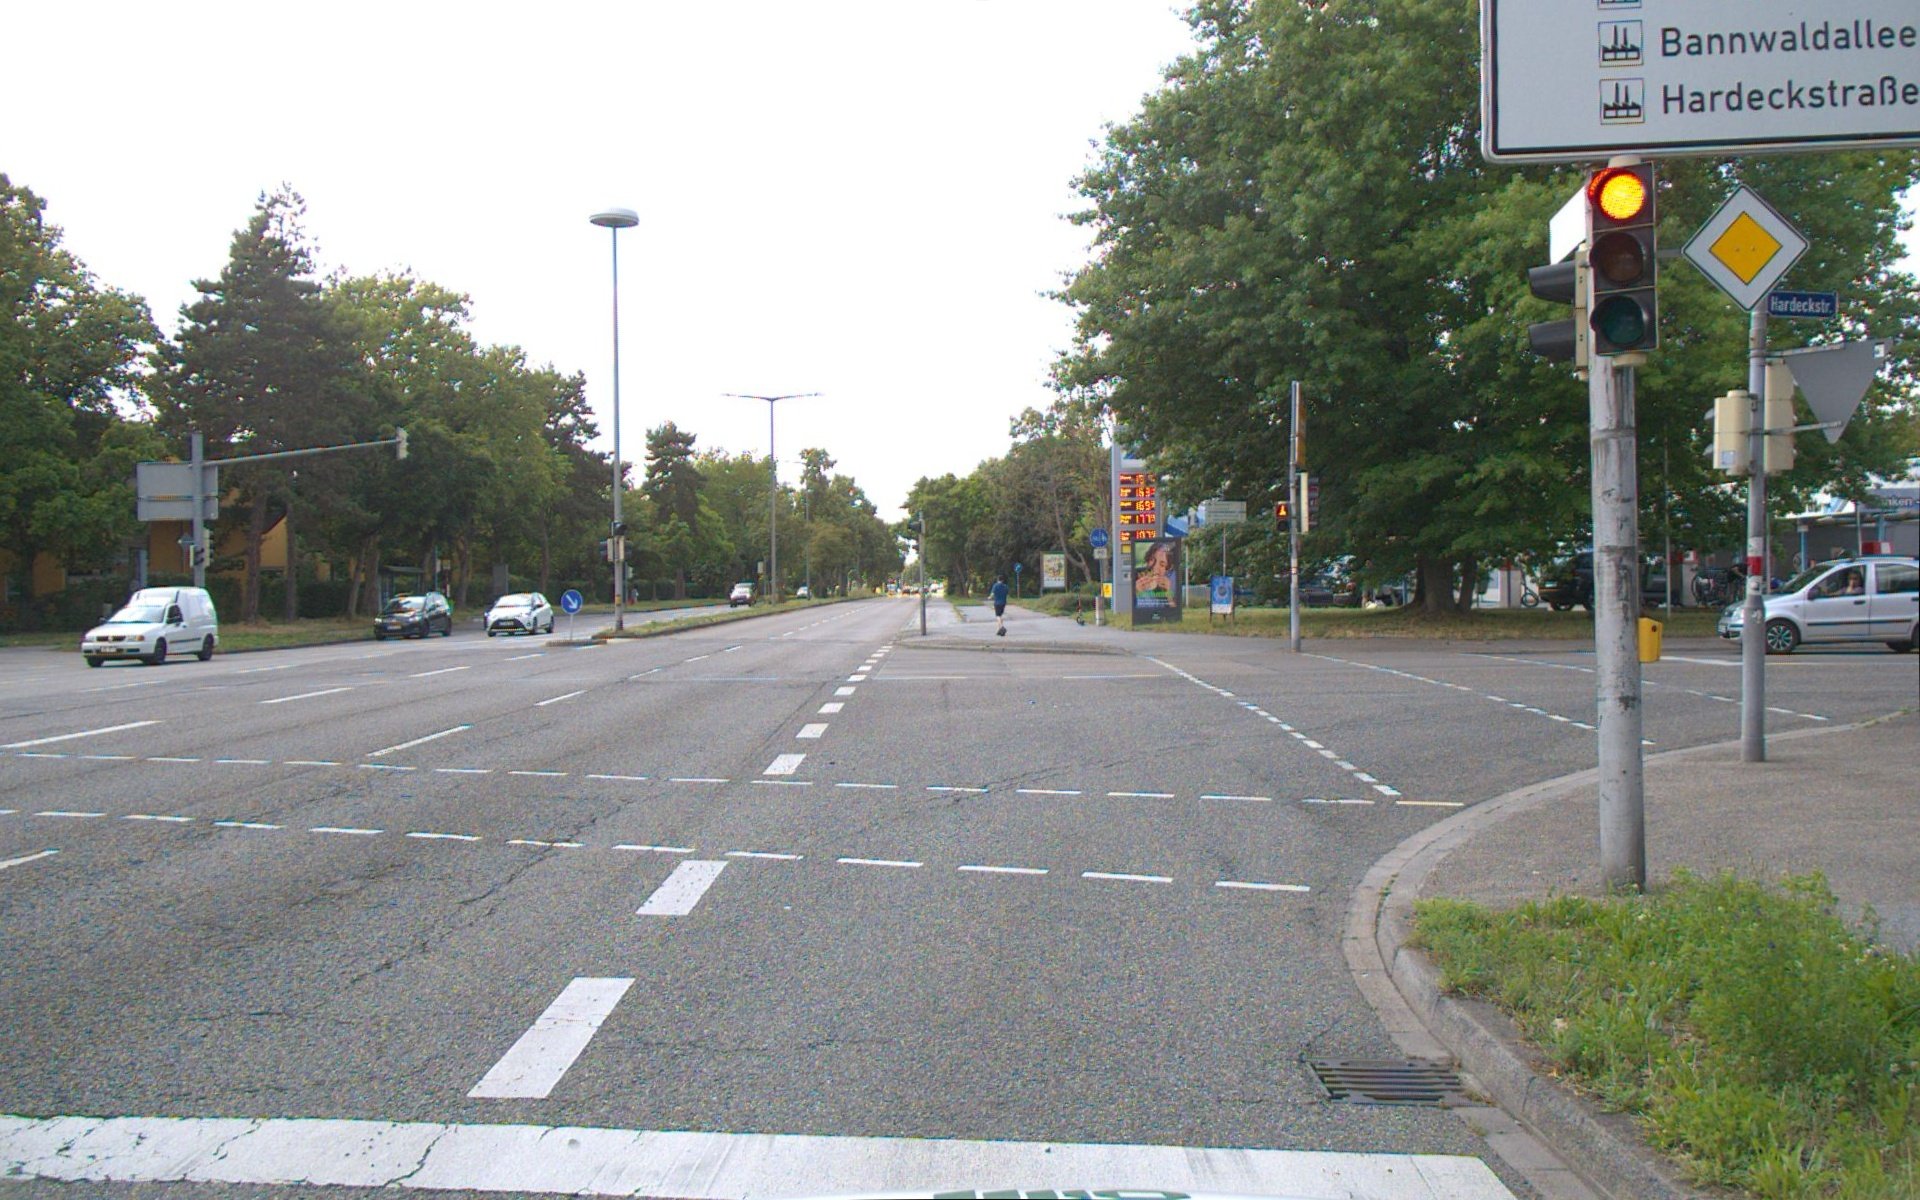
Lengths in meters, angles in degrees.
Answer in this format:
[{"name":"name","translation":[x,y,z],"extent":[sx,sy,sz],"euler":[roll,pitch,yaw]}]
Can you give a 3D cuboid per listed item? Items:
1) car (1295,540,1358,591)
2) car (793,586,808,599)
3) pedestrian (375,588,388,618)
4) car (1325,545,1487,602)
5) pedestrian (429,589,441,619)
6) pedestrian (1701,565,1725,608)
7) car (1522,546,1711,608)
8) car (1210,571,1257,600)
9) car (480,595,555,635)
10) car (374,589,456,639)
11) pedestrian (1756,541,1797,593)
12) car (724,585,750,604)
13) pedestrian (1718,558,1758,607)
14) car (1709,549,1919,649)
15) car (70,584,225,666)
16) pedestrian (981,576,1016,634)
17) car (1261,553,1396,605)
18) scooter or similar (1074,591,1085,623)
[{"name":"car","translation":[18.835,-1.733,85.255],"extent":[1.715,2.496,5.747],"euler":[-1,0,-2]},{"name":"car","translation":[-22.583,-1.070,234.712],"extent":[1.822,1.735,4.454],"euler":[-1,0,-2]},{"name":"pedestrian","translation":[-29.378,0.147,84.049],"extent":[0.560,1.522,0.419],"euler":[1,-1,-16]},{"name":"car","translation":[15.748,-0.934,58.475],"extent":[5.089,1.858,2.148],"euler":[-1,0,-12]},{"name":"pedestrian","translation":[-26.651,0.193,83.926],"extent":[0.560,1.522,0.419],"euler":[1,-1,-16]},{"name":"pedestrian","translation":[27.781,-0.491,61.020],"extent":[0.640,1.571,0.624],"euler":[-1,0,6]},{"name":"car","translation":[18.370,-0.643,46.348],"extent":[4.469,1.624,2.148],"euler":[-1,0,-12]},{"name":"car","translation":[14.561,-0.771,88.093],"extent":[1.715,1.479,3.739],"euler":[-1,0,-2]},{"name":"car","translation":[-15.867,0.540,59.488],"extent":[1.717,1.331,3.693],"euler":[-2,0,-2]},{"name":"car","translation":[-20.015,0.501,60.899],"extent":[1.637,1.772,4.309],"euler":[0,0,-1]},{"name":"pedestrian","translation":[20.506,-0.817,41.517],"extent":[0.640,1.277,0.753],"euler":[1,-1,-45]},{"name":"car","translation":[-17.849,-0.433,132.561],"extent":[1.736,1.490,4.453],"euler":[-1,0,-4]},{"name":"pedestrian","translation":[19.828,-0.447,42.133],"extent":[0.640,1.210,0.753],"euler":[1,-1,-45]},{"name":"car","translation":[14.280,-0.021,26.921],"extent":[3.520,1.543,1.560],"euler":[-1,0,12]},{"name":"car","translation":[-19.332,0.572,39.552],"extent":[1.637,1.825,4.253],"euler":[0,0,-1]},{"name":"pedestrian","translation":[1.051,0.132,45.045],"extent":[0.713,1.558,0.756],"euler":[-1,0,-17]},{"name":"car","translation":[15.422,-0.889,69.403],"extent":[5.079,2.039,2.152],"euler":[-1,0,-5]},{"name":"scooter or similar","translation":[3.758,0.209,51.969],"extent":[0.216,0.996,1.272],"euler":[-1,0,-1]}]
